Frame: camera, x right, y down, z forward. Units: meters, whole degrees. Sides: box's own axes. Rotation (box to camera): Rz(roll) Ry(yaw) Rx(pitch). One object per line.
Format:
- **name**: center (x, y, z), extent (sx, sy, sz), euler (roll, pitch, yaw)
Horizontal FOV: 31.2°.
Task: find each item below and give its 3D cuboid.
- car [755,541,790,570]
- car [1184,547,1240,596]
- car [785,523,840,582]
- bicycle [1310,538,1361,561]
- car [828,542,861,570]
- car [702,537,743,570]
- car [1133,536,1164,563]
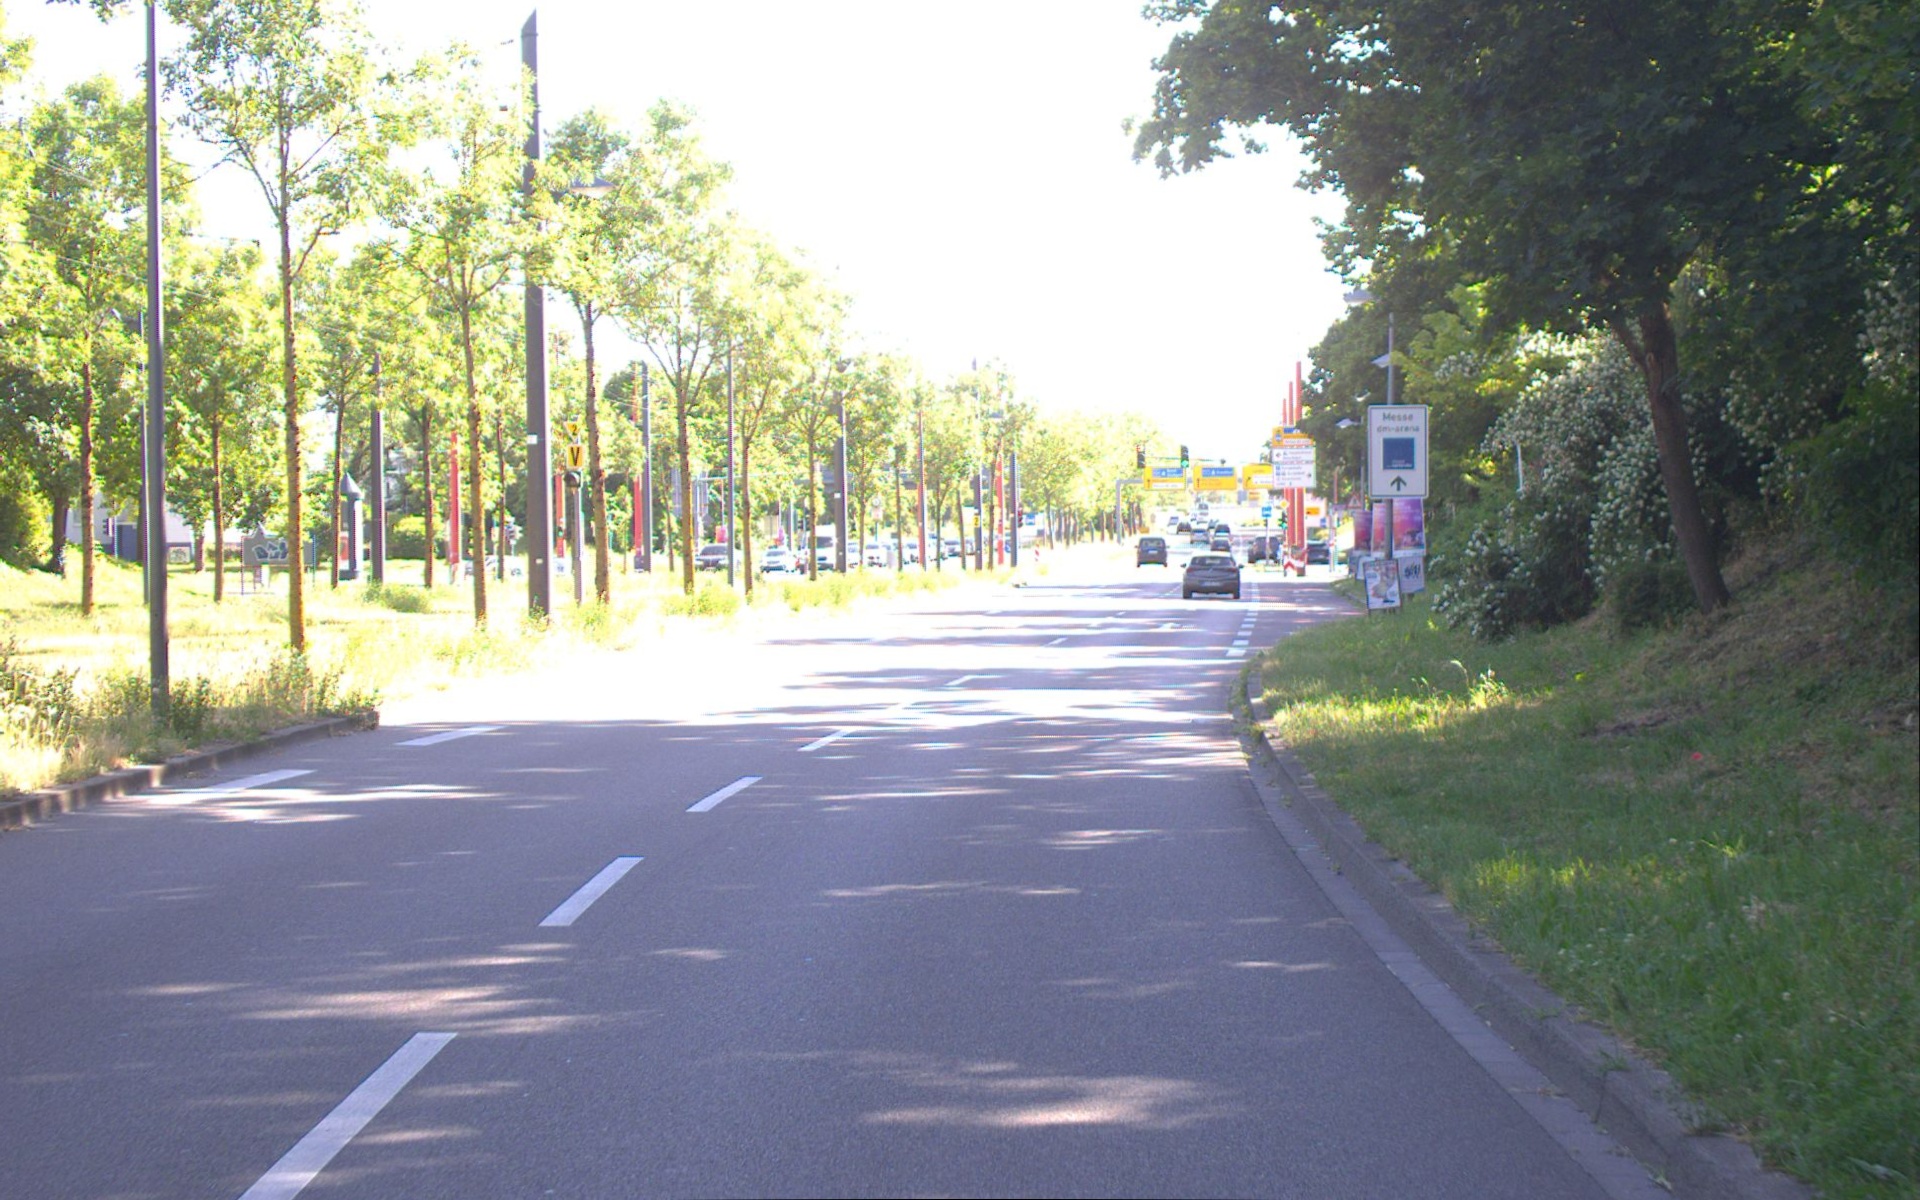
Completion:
- **car**: center (-11.037, -2.609, 202.344), extent (1.631, 1.675, 4.191), euler (0, 1, 3)
- **car**: center (7.928, -0.912, 107.927), extent (1.634, 1.493, 4.234), euler (0, 1, 5)
- **car**: center (-8.202, -2.644, 191.848), extent (2.465, 3.228, 6.134), euler (0, 1, 3)
- **bicycle**: center (17.929, -2.419, 164.290), extent (2.415, 1.105, 0.812), euler (0, 1, 5)
- **car**: center (-7.002, -2.687, 209.187), extent (1.631, 1.675, 4.191), euler (0, 1, 3)
- **car**: center (-12.490, -2.457, 180.778), extent (1.631, 1.675, 4.191), euler (0, 1, 3)
- **car**: center (10.946, -2.946, 199.479), extent (1.634, 1.493, 4.234), euler (0, 1, 5)
